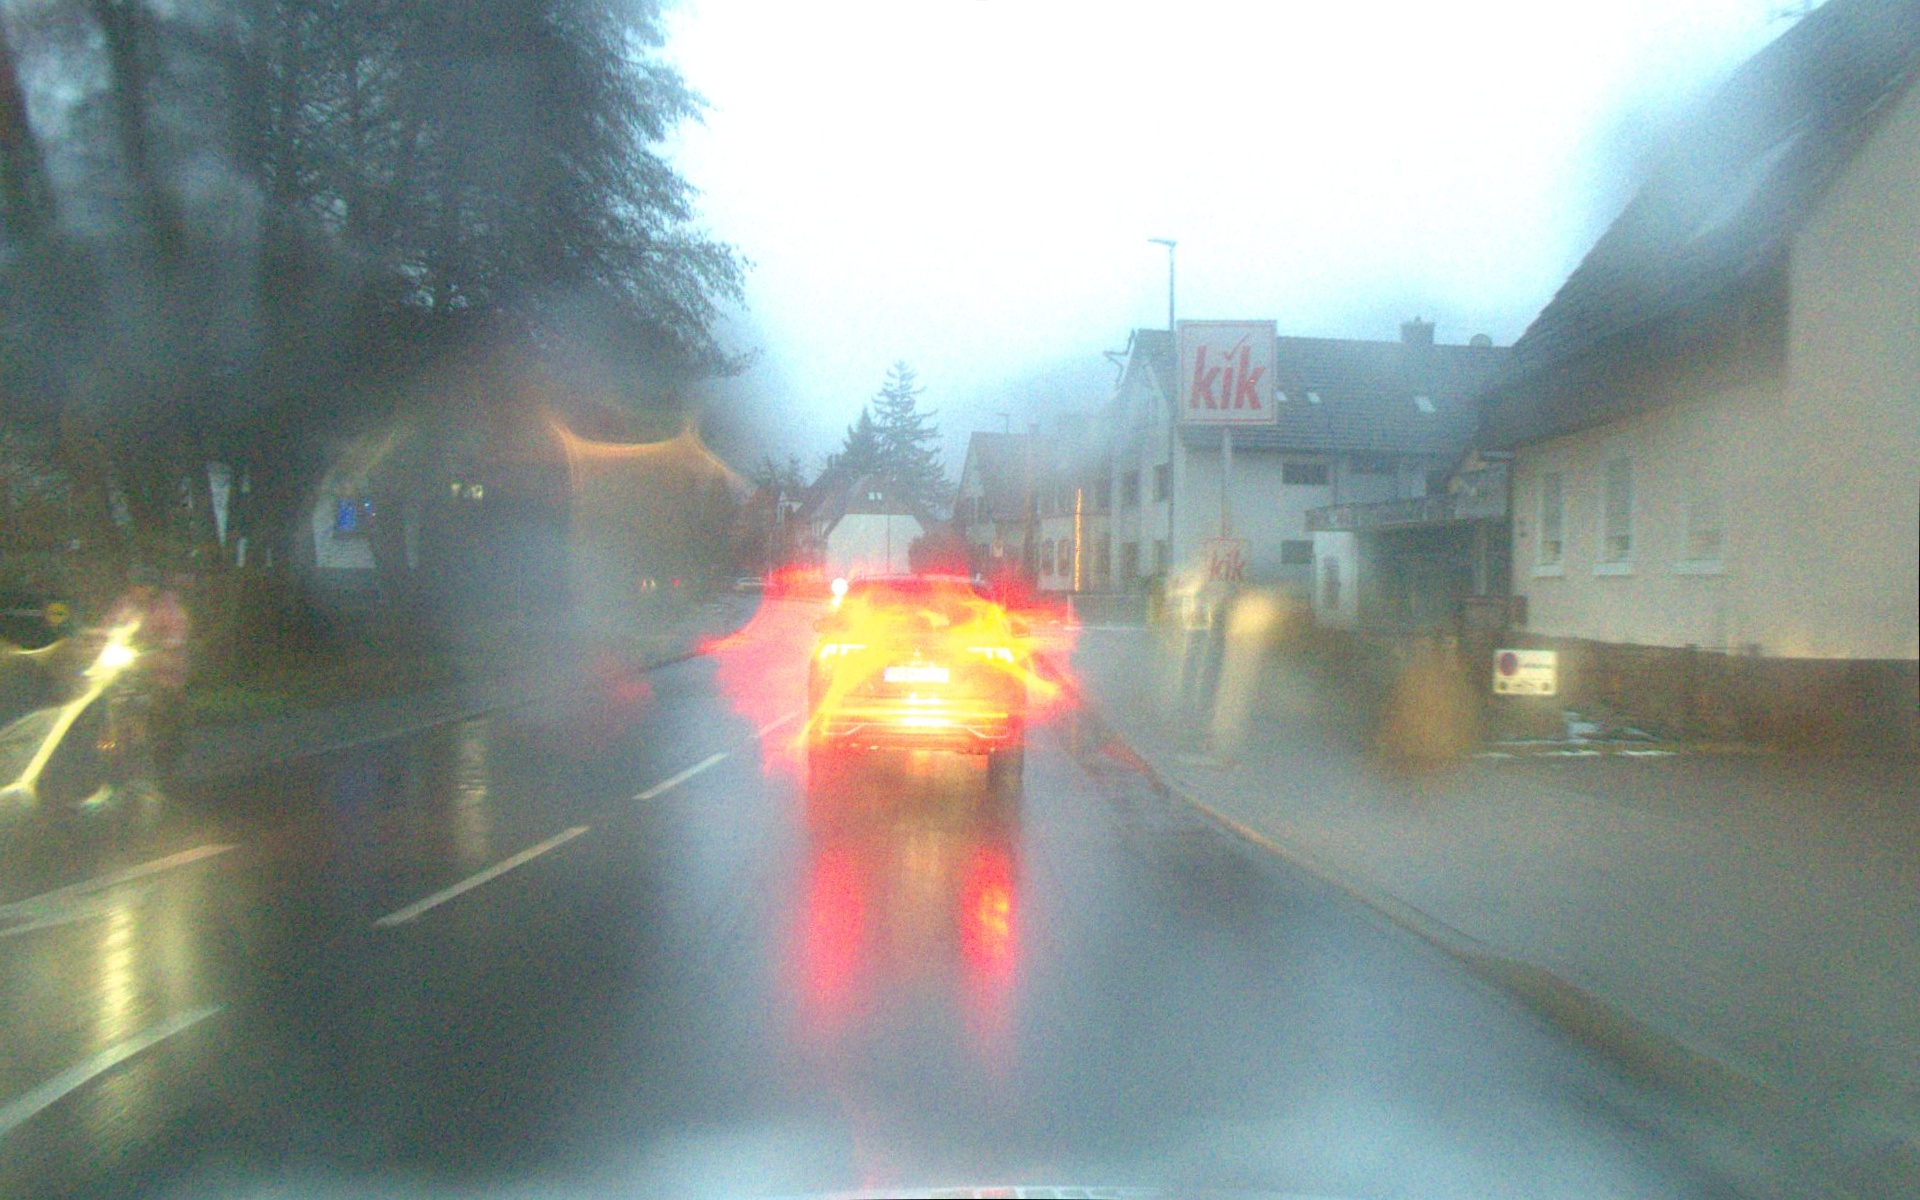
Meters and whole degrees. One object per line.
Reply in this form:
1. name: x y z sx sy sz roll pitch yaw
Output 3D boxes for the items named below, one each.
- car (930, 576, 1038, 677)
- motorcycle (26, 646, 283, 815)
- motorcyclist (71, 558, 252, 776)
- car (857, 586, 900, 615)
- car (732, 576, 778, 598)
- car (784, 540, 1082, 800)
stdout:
1. car: 0.374 0.429 30.461 1.820 1.676 3.999 1 1 -1
2. motorcycle: -5.827 0.904 12.132 0.848 1.041 2.109 2 0 -1
3. motorcyclist: -5.811 0.472 12.088 0.848 1.511 0.909 2 0 -1
4. car: -4.051 0.003 81.386 1.807 1.355 3.931 0 1 -7
5. car: -19.161 -1.217 154.716 4.174 2.049 1.805 0 0 -13
6. car: -0.238 0.532 15.104 2.262 1.972 5.017 0 0 -1
